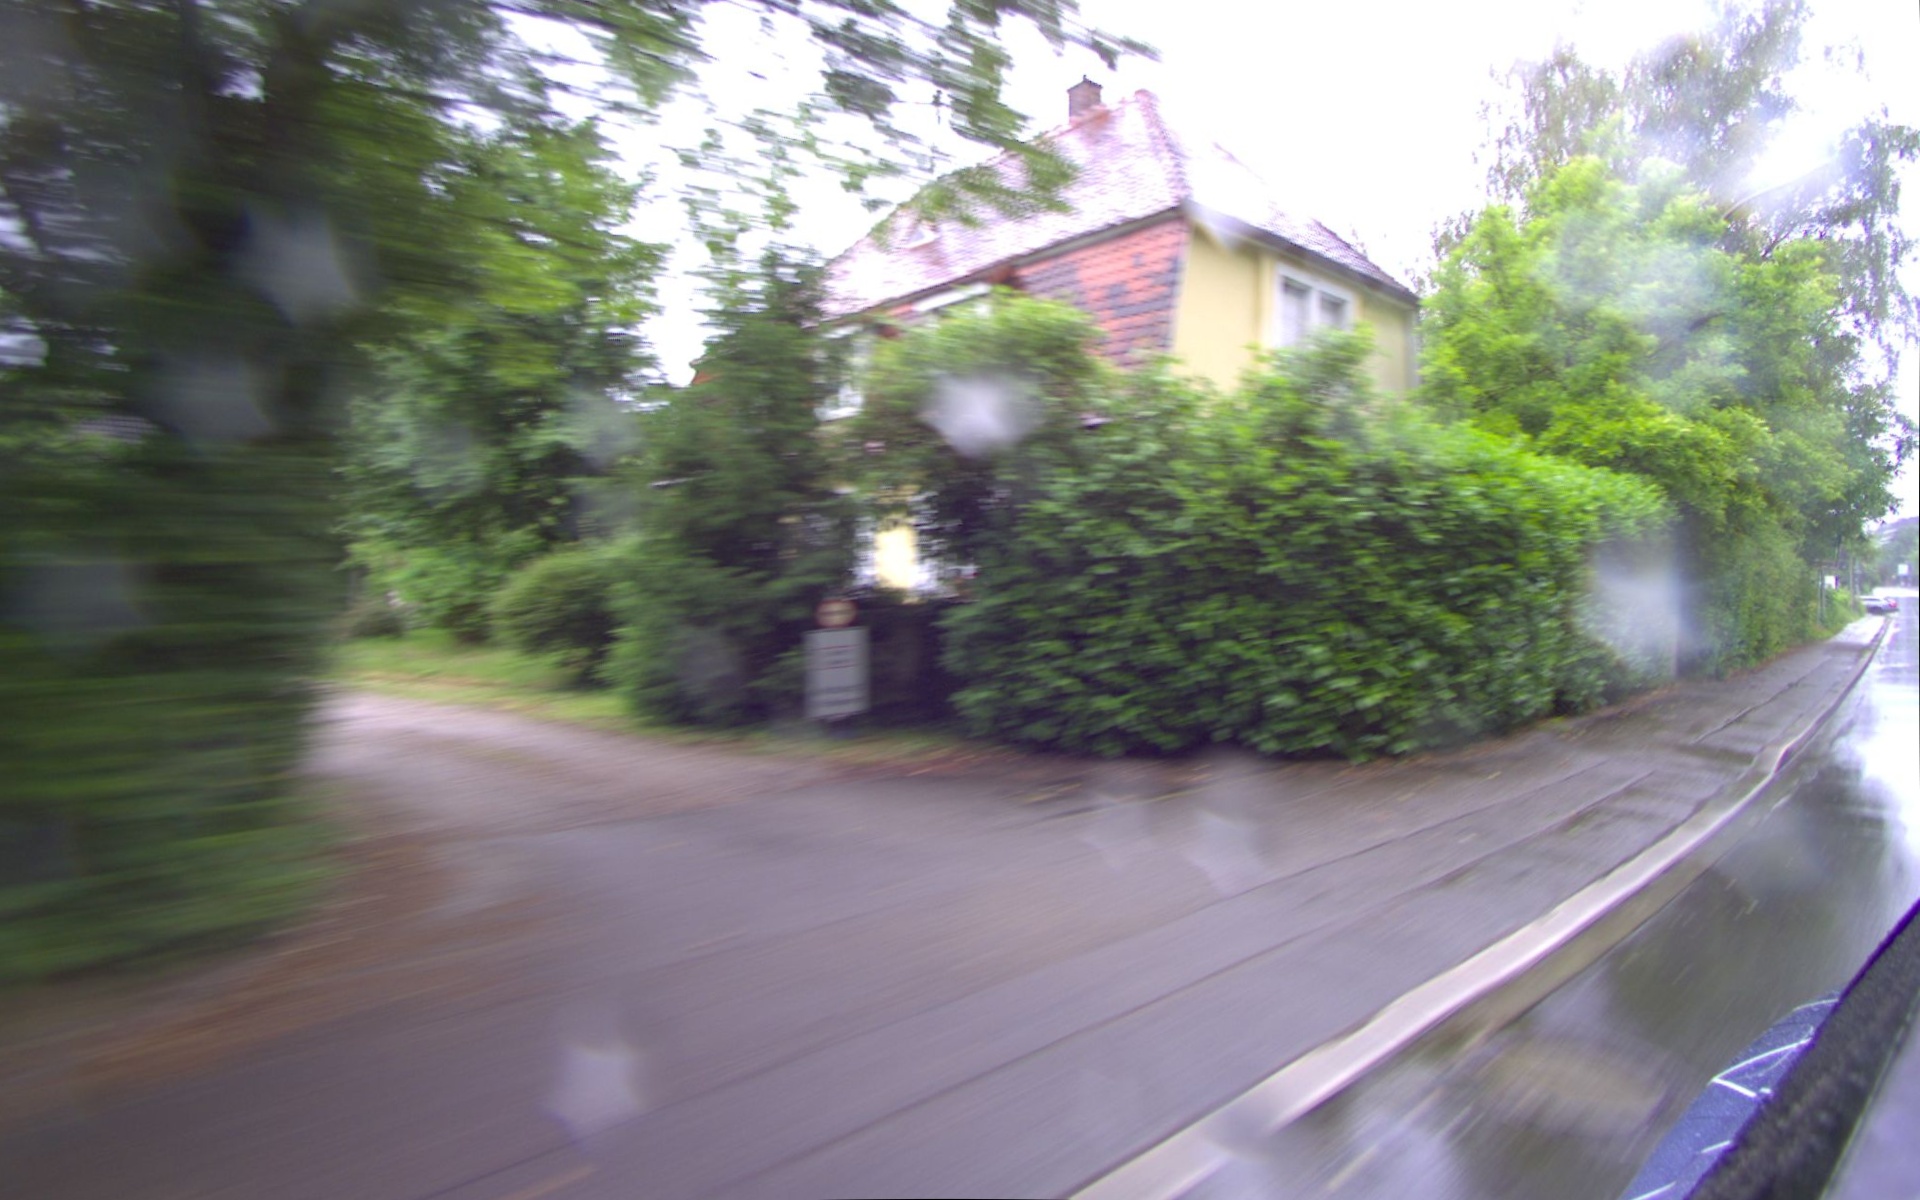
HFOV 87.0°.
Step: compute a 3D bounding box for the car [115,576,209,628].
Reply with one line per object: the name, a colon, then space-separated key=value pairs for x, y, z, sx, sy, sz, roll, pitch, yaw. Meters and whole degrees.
car: x=-25.609 y=0.034 z=32.422 sx=3.986 sy=1.571 sz=1.778 roll=2 pitch=0 yaw=43
